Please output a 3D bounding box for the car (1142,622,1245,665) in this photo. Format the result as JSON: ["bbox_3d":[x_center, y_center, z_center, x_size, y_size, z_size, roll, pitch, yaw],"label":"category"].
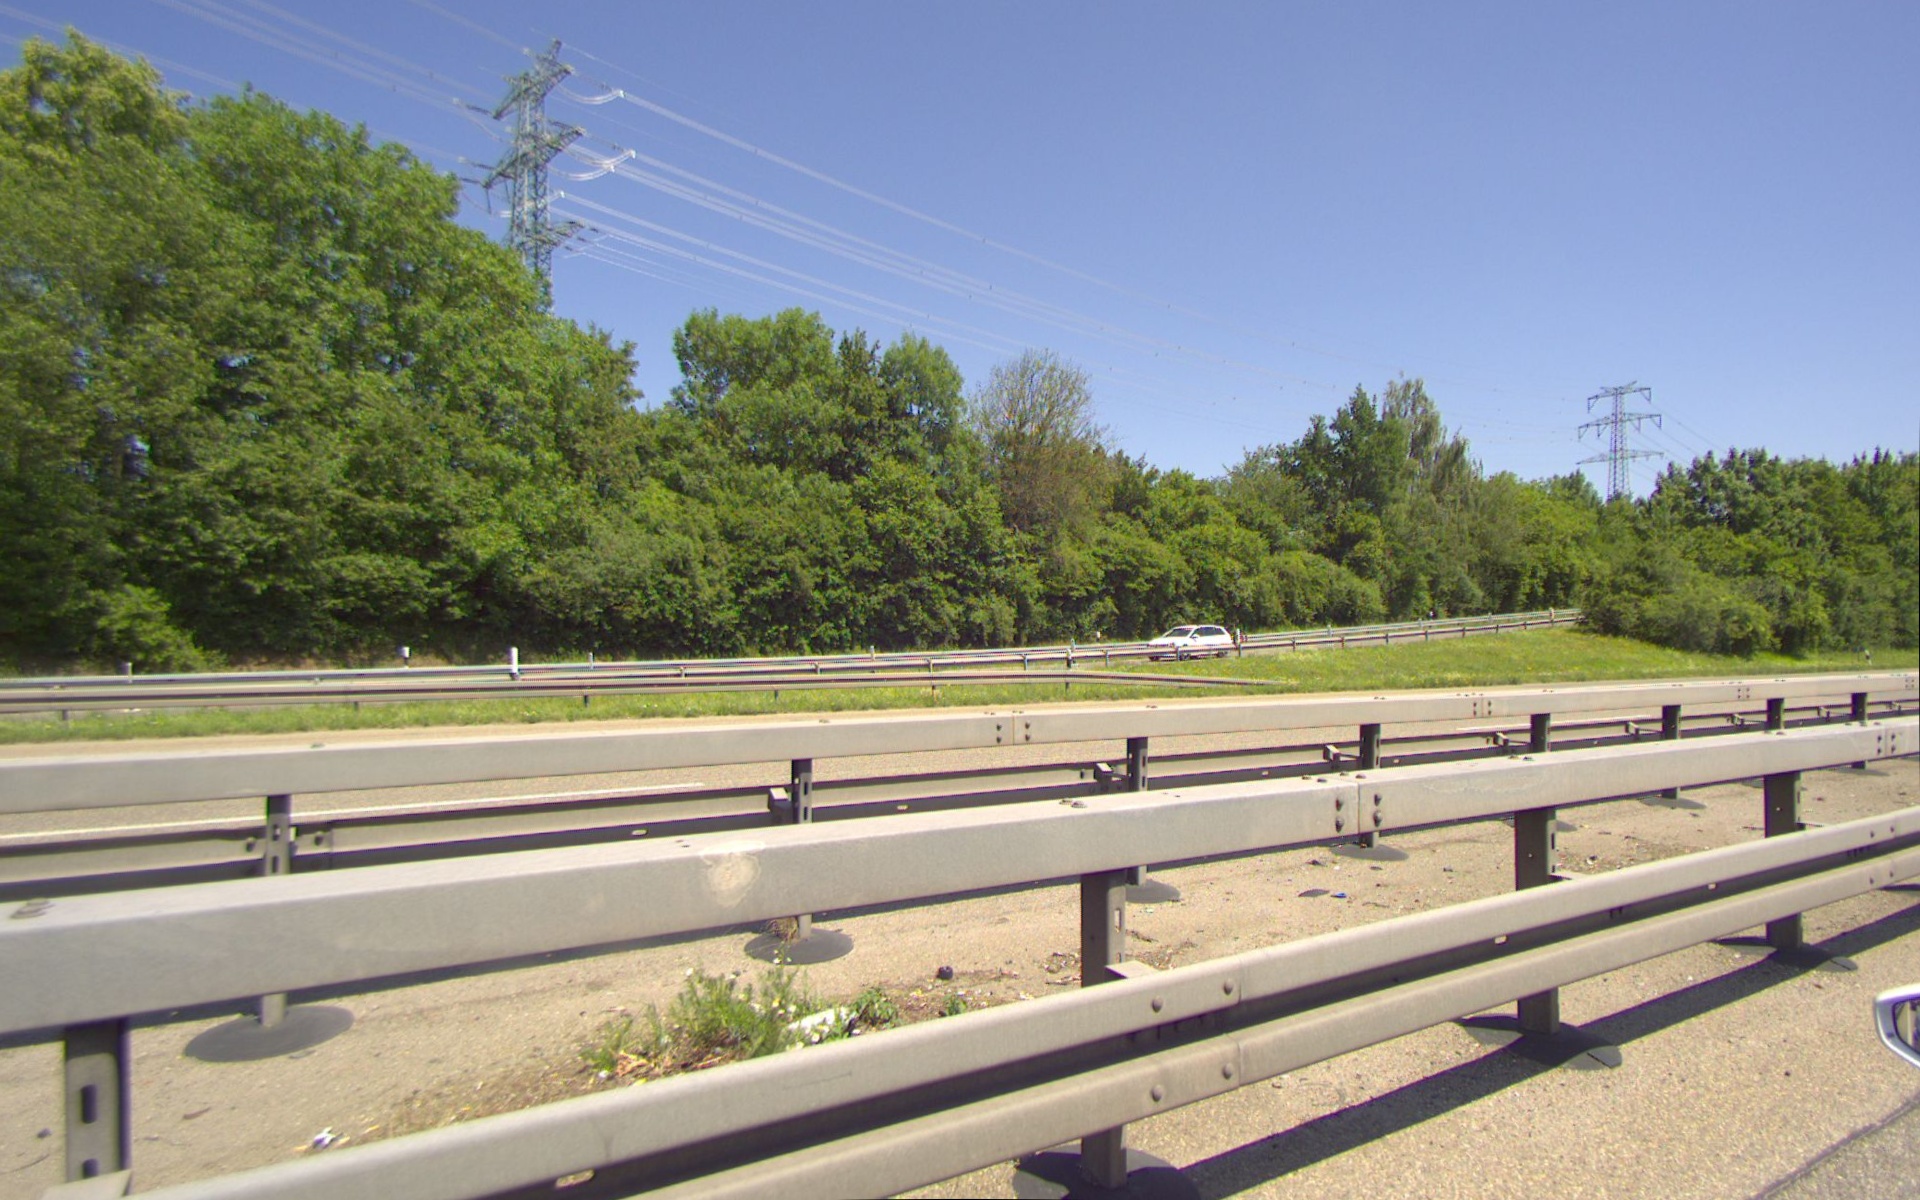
[{"bbox_3d":[10.056,1.864,43.051,4.859,1.696,1.621,2,0,-39],"label":"car"}]
